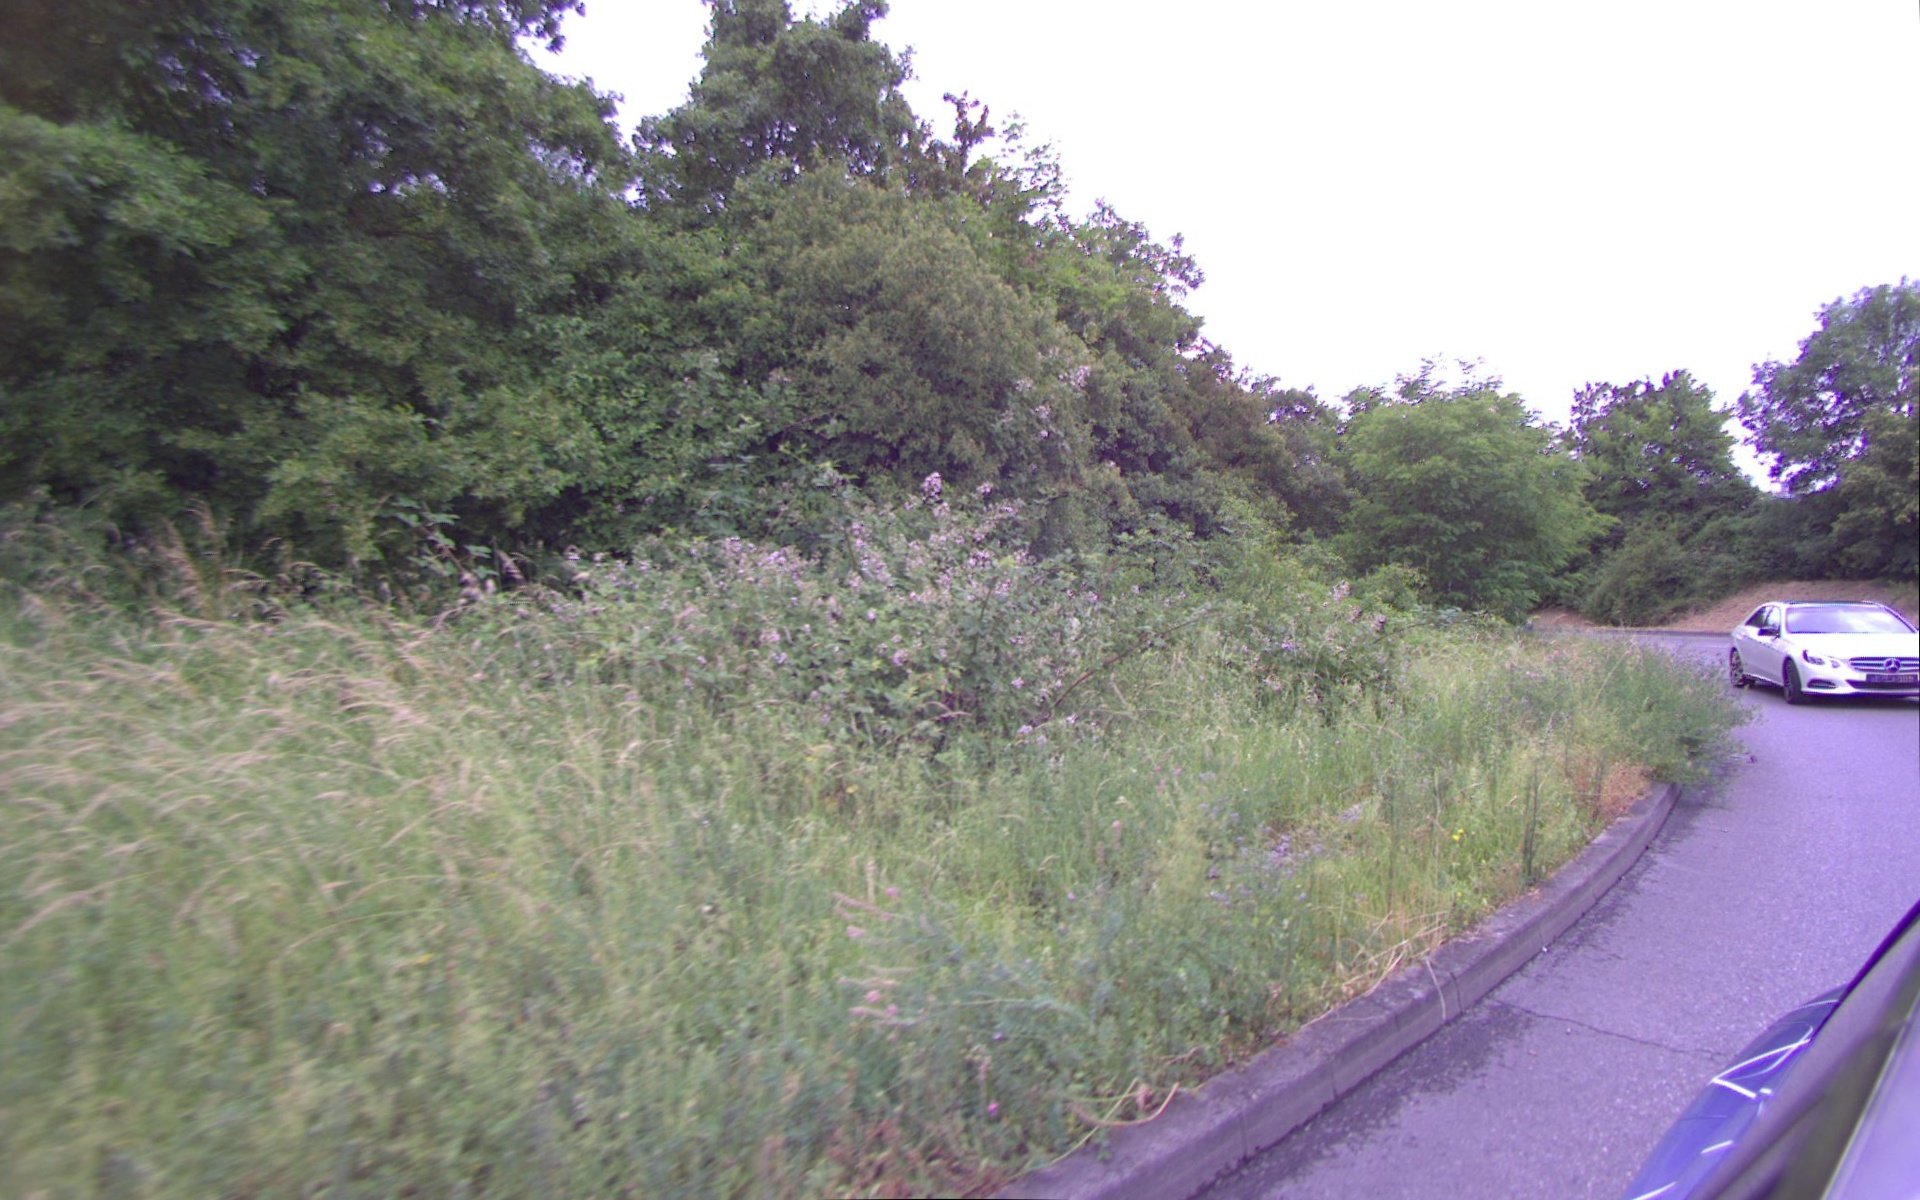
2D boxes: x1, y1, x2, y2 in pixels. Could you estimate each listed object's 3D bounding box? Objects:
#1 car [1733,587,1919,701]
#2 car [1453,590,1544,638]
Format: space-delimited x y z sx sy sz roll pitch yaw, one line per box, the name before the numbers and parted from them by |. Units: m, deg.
car | 13.345 0.576 15.194 1.868 1.440 3.967 -2 0 25
car | 18.453 0.486 34.858 1.796 1.564 3.711 0 -1 12
